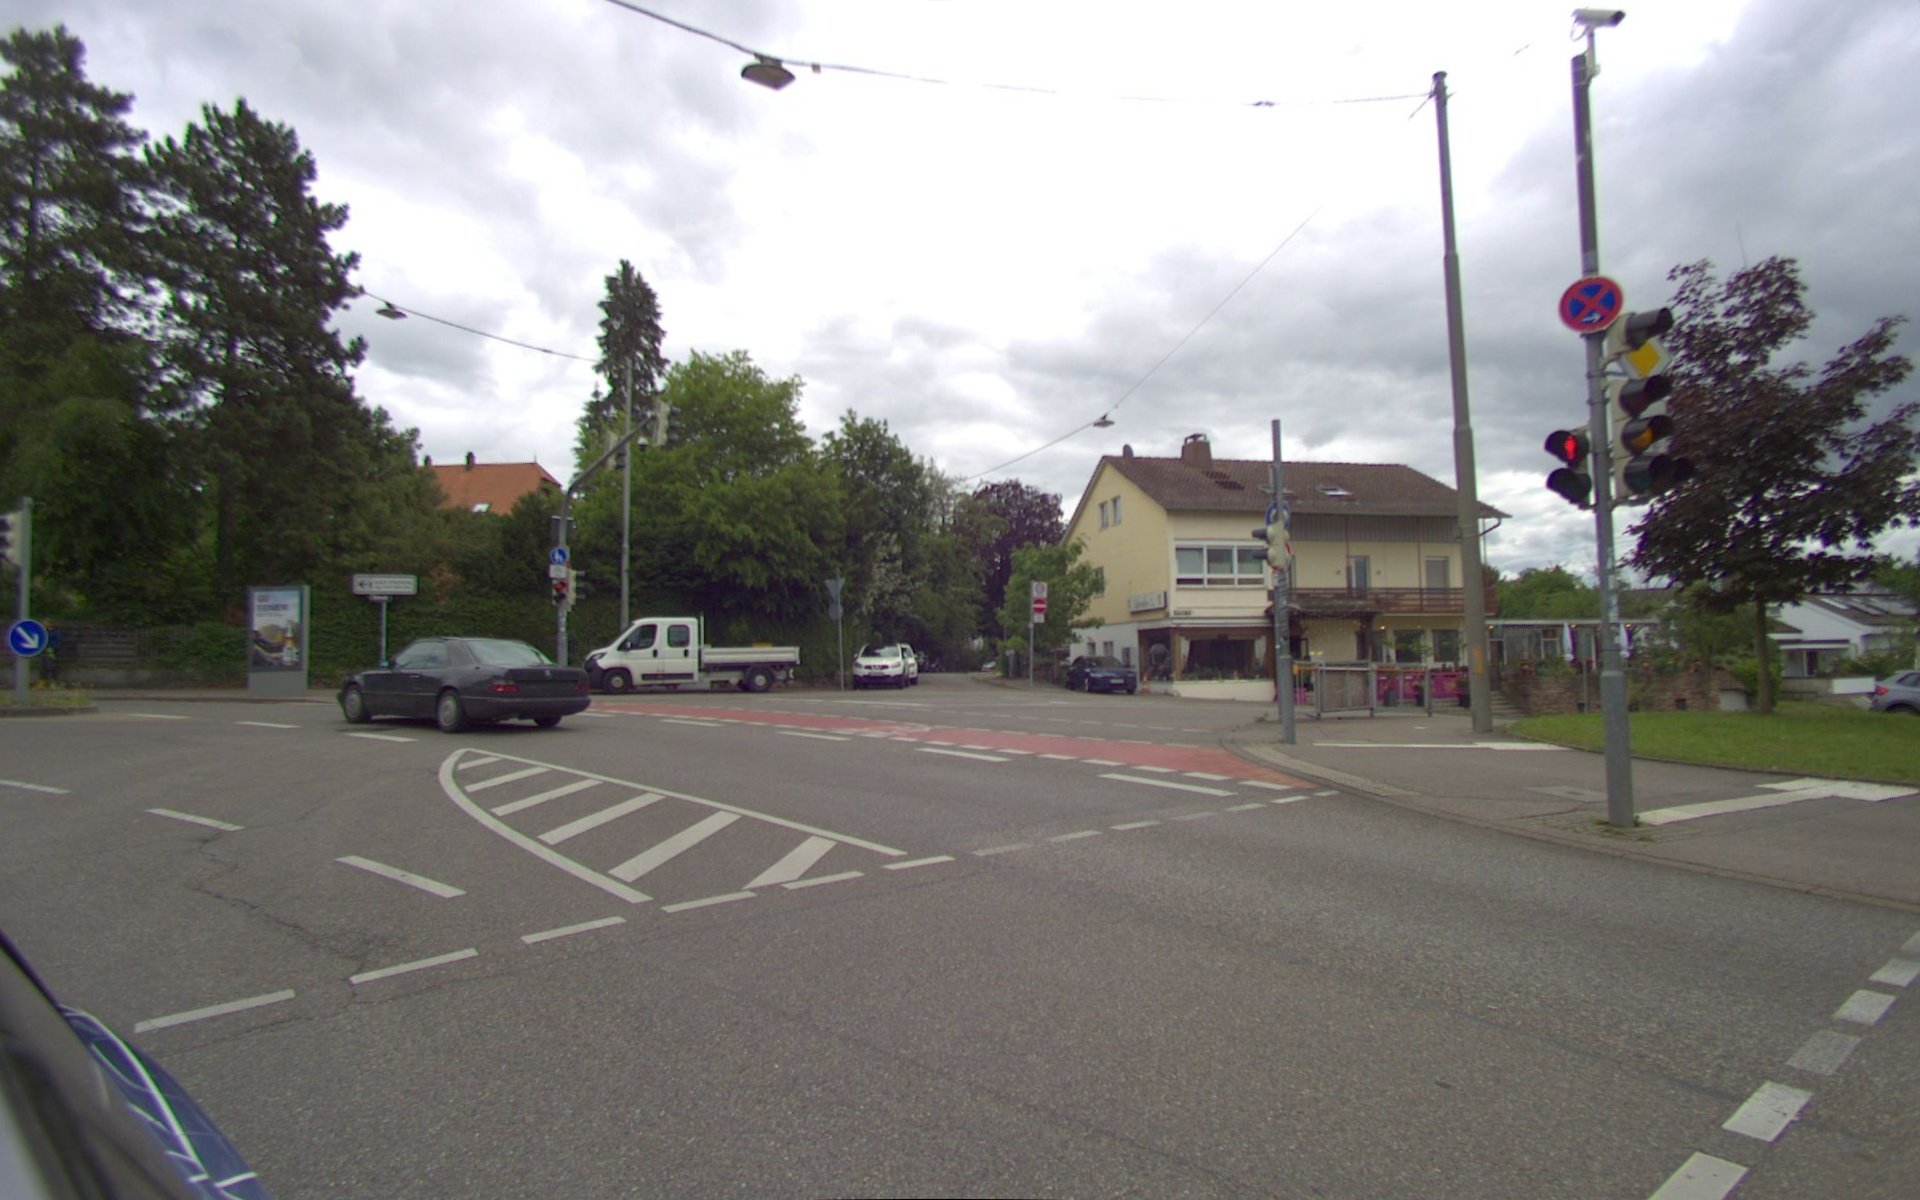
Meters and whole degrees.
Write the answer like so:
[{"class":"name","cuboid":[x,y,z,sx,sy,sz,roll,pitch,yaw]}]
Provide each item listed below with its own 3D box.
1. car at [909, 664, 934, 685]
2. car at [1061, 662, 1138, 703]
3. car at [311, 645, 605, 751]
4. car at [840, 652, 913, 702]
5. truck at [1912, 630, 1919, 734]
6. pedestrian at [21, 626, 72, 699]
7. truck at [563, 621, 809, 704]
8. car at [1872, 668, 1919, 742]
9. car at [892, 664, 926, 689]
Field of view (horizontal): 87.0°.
[{"class":"car","cuboid":[-3.067,5.980,81.242,1.846,1.599,3.729,0,-3,1]},{"class":"car","cuboid":[5.283,3.125,38.750,1.851,1.460,4.007,1,-4,-9]},{"class":"car","cuboid":[-7.702,1.392,15.364,4.855,1.338,1.830,-1,-4,34]},{"class":"car","cuboid":[-2.883,2.705,35.880,1.974,1.625,3.994,0,-4,4]},{"class":"truck","cuboid":[39.694,3.256,37.862,8.169,3.827,3.030,4,-4,-24]},{"class":"pedestrian","cuboid":[-23.372,1.605,25.907,0.603,1.849,0.680,1,-4,-8]},{"class":"truck","cuboid":[-7.975,1.848,29.538,6.601,2.205,2.538,2,-3,-23]},{"class":"car","cuboid":[21.446,2.183,20.514,1.755,1.533,4.018,2,-3,-29]},{"class":"car","cuboid":[-3.593,5.393,71.801,1.974,1.629,3.995,0,-3,4]}]
